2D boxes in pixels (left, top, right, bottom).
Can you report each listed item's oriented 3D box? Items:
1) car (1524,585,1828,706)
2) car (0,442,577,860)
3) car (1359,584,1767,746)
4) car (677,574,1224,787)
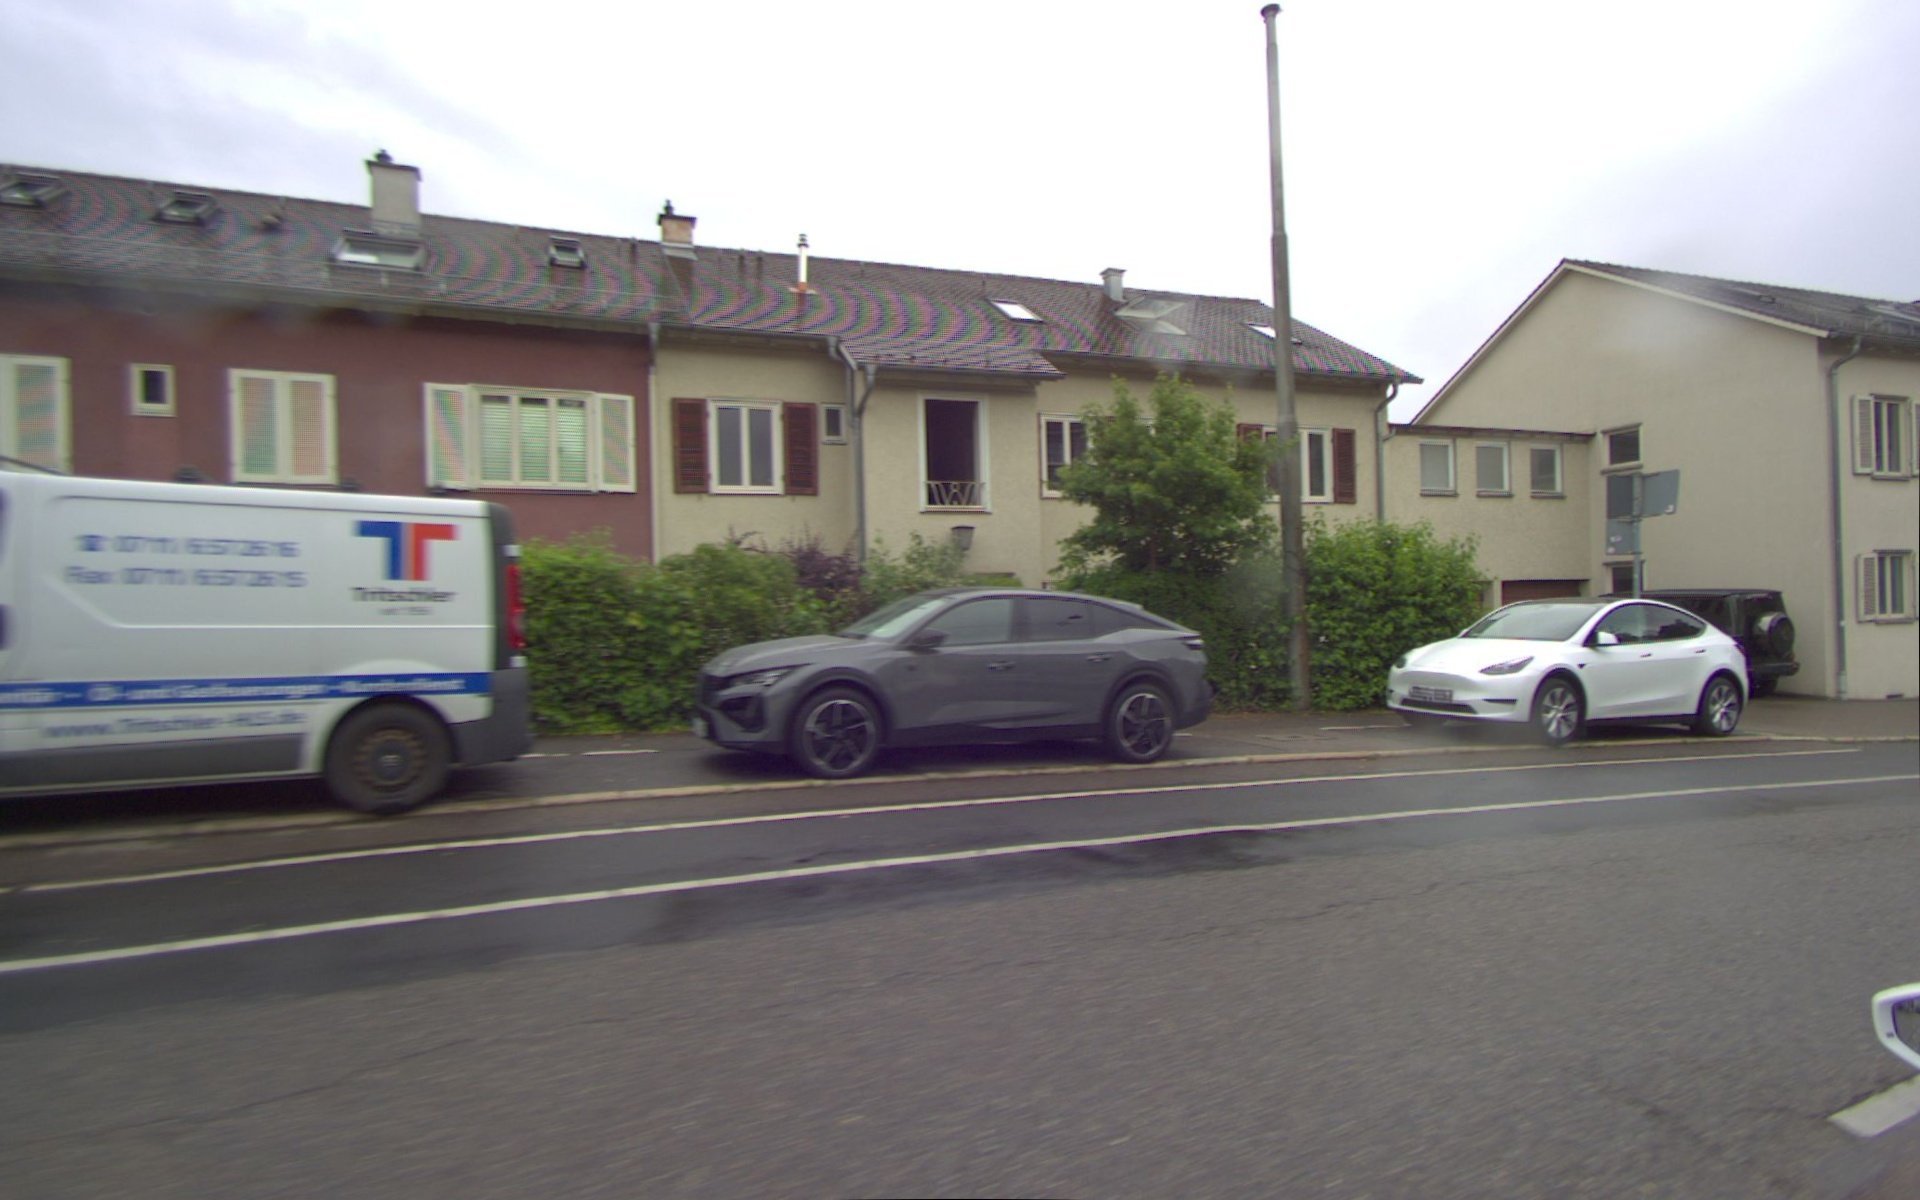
[{"bbox_3d":[13.577,0.807,19.405,1.861,2.040,4.479,0,-1,-22],"label":"car"},{"bbox_3d":[-5.063,0.266,5.996,4.961,2.106,1.840,1,-1,-30],"label":"car"},{"bbox_3d":[7.282,0.727,12.114,4.612,1.652,1.924,1,-1,-24],"label":"car"},{"bbox_3d":[-0.048,0.617,8.809,4.460,1.496,1.803,1,-1,-25],"label":"car"}]
